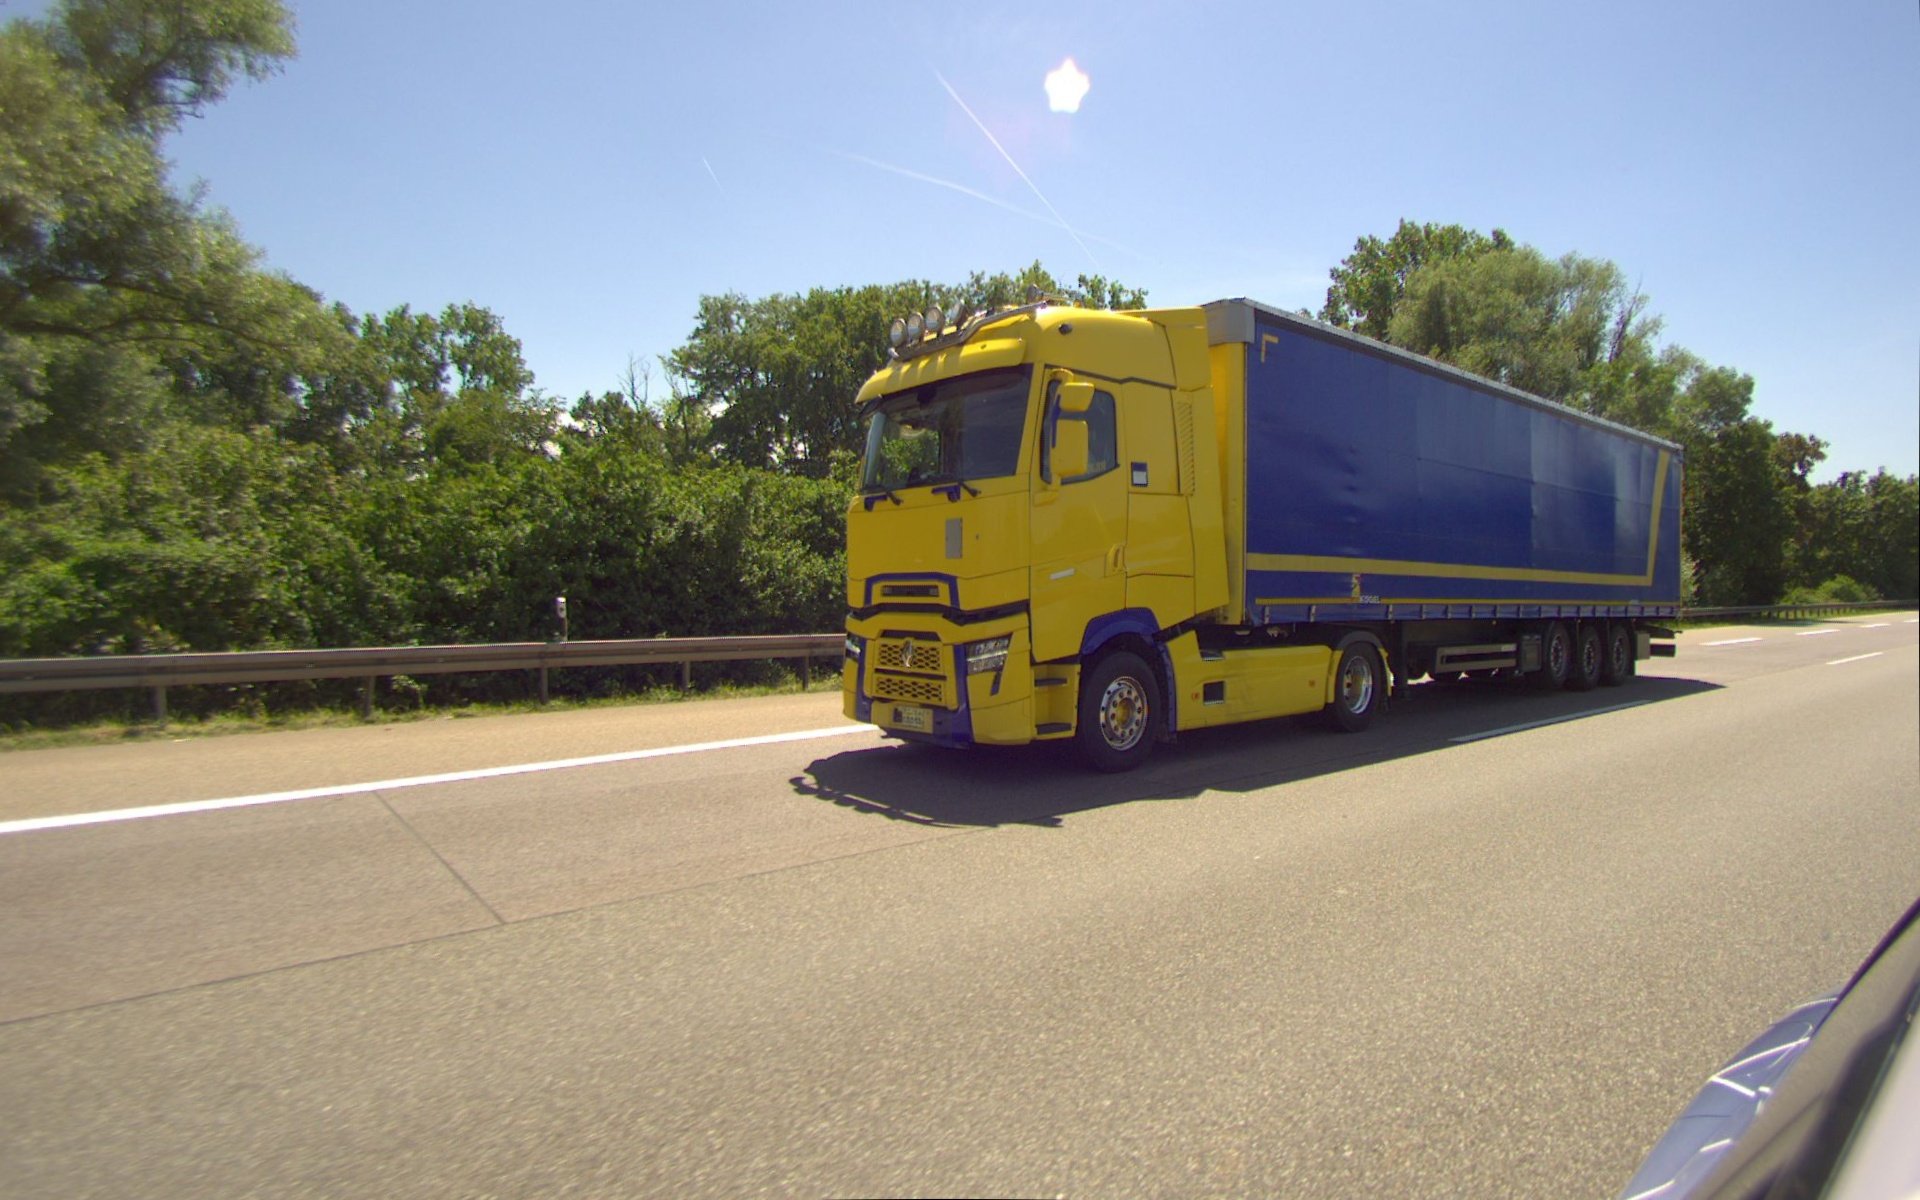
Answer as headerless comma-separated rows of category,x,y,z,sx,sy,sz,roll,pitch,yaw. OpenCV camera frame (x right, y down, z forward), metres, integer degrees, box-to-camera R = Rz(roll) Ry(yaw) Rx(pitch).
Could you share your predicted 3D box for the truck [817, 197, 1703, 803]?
truck,5.874,-0.898,13.638,16.495,4.310,2.851,-1,2,-40
